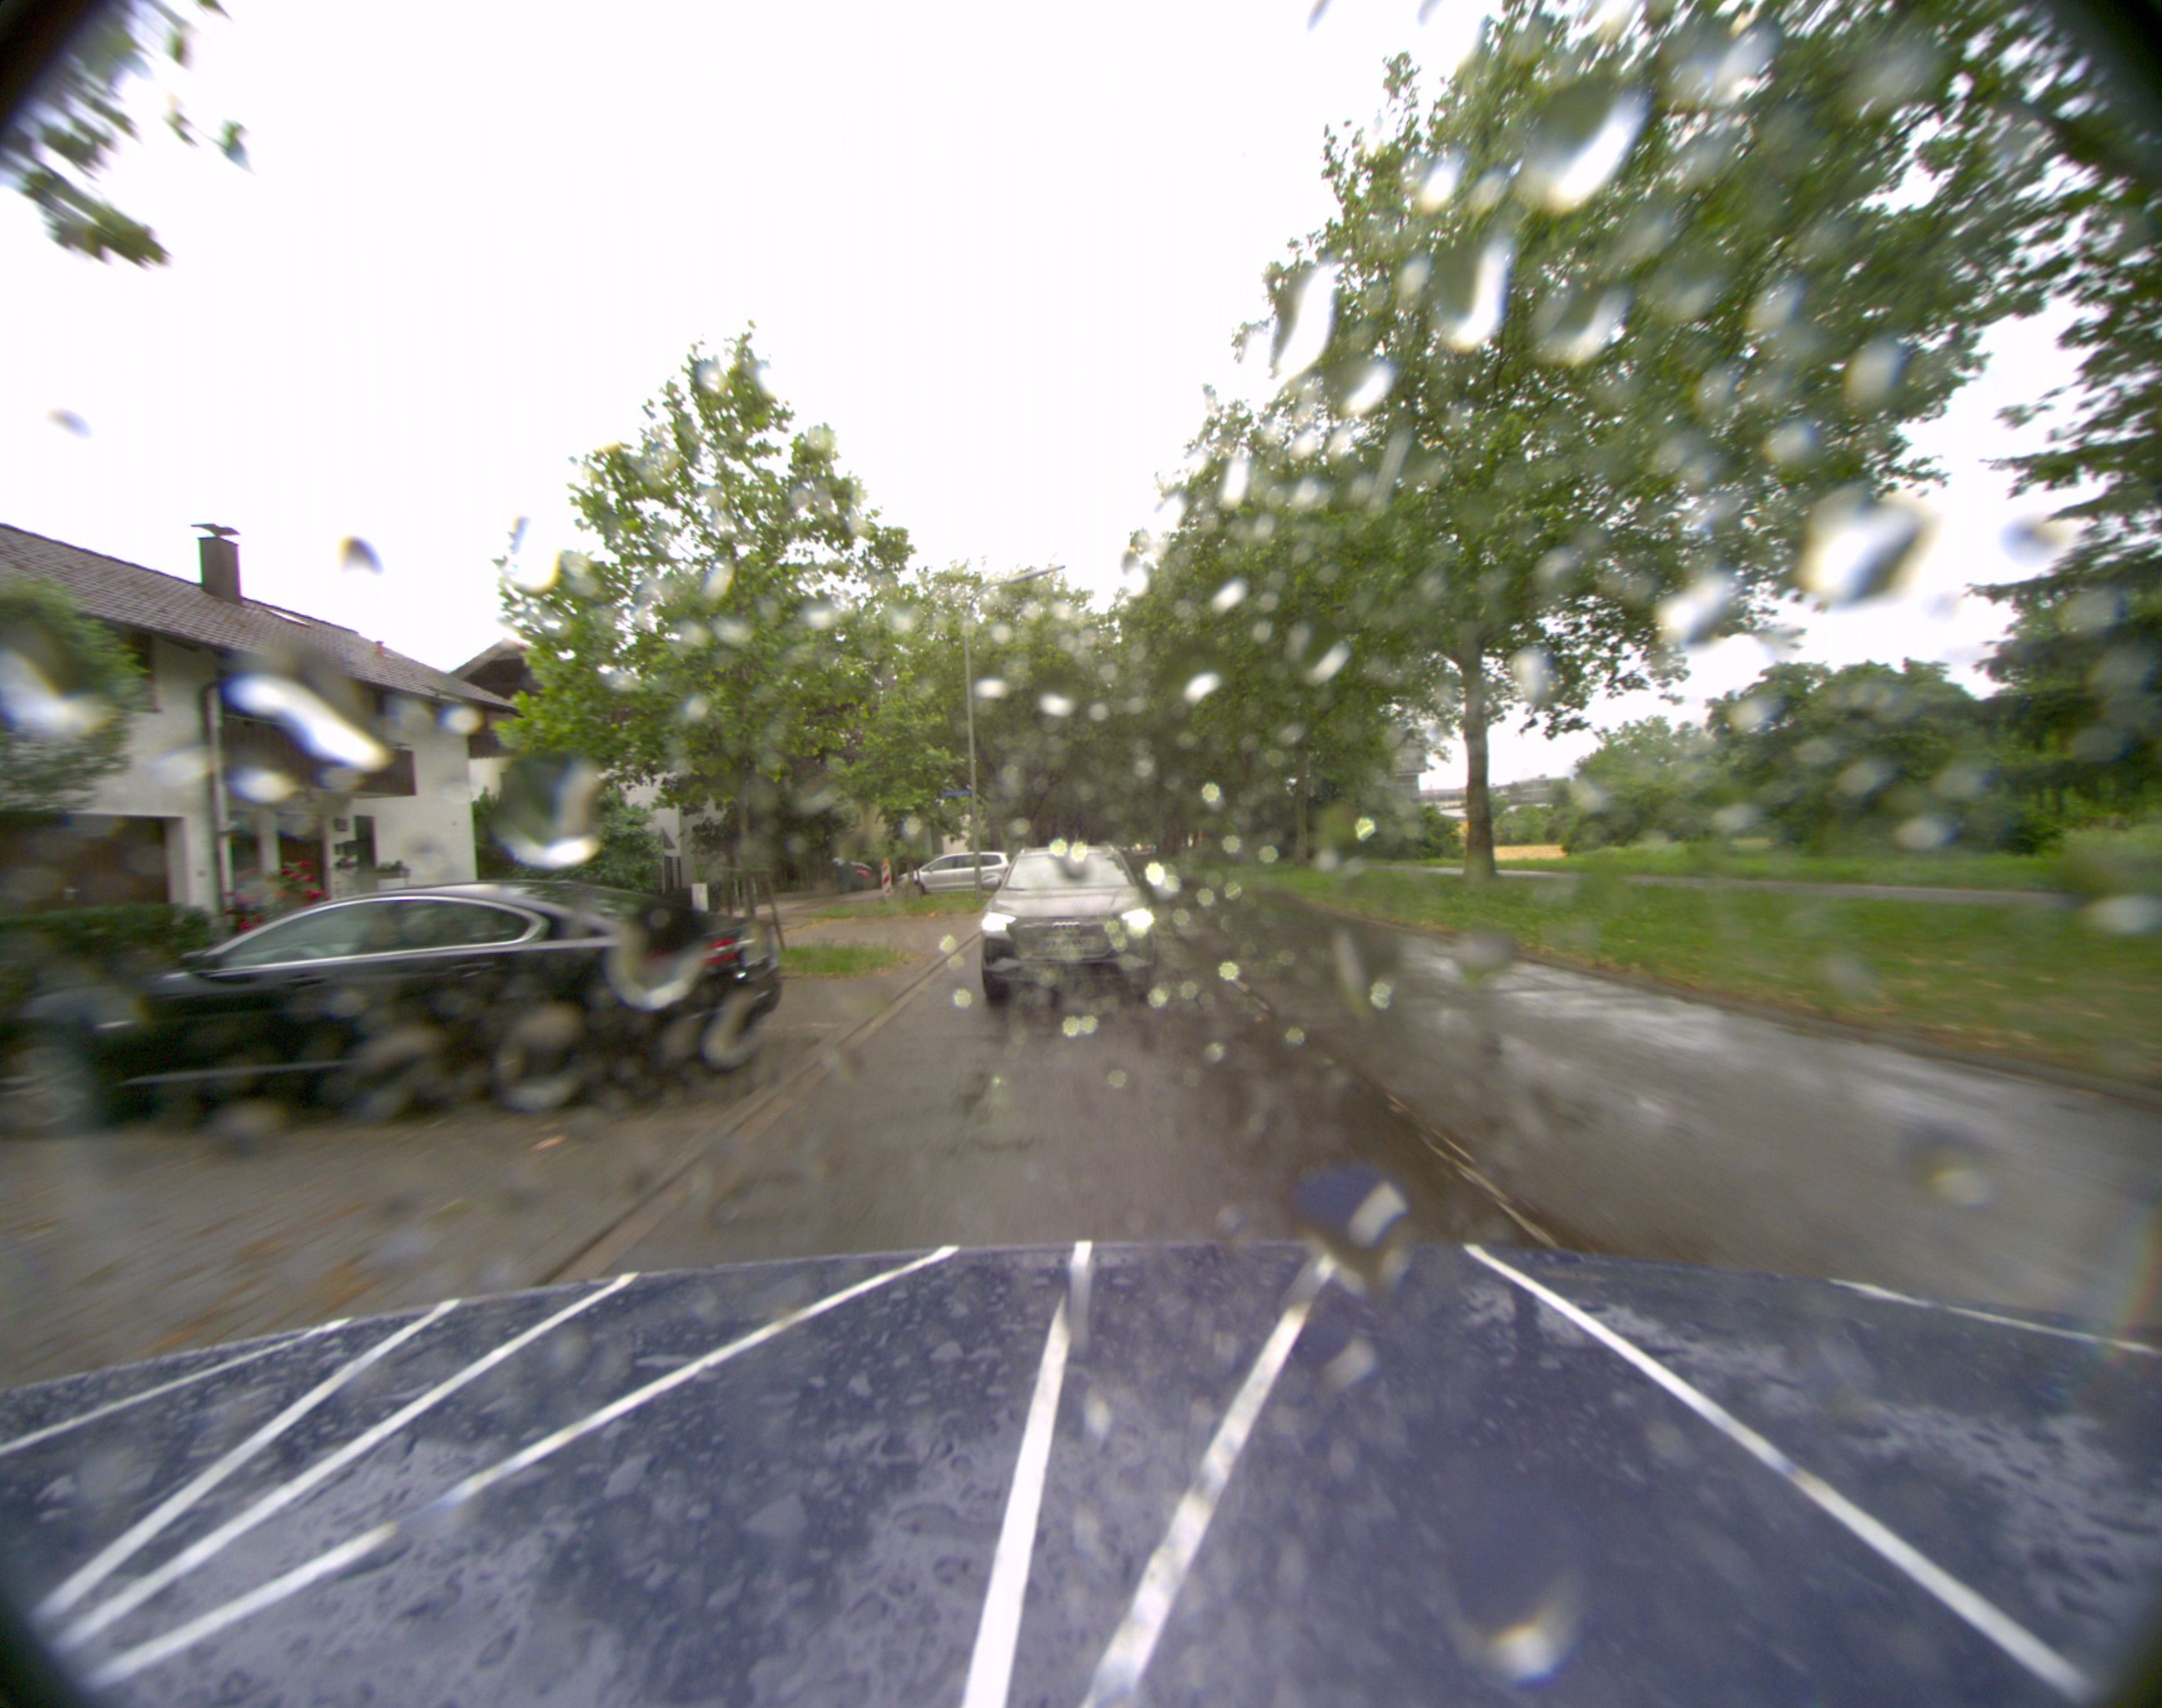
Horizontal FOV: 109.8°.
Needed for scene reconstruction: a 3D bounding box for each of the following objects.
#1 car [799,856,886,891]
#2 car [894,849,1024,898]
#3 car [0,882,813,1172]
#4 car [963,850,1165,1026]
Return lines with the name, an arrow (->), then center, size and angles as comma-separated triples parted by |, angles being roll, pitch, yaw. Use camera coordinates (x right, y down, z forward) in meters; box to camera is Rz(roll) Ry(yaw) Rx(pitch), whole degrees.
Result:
car -> -12.436, 1.003, 39.767 | 3.853, 1.603, 1.843 | -2, 0, 2
car -> -4.683, 0.745, 29.710 | 4.701, 1.651, 1.976 | -2, 0, -1
car -> -4.688, 1.060, 5.491 | 4.779, 1.464, 1.937 | -2, 0, -4
car -> -0.124, 0.796, 9.439 | 1.862, 1.608, 4.423 | -2, 0, 1
